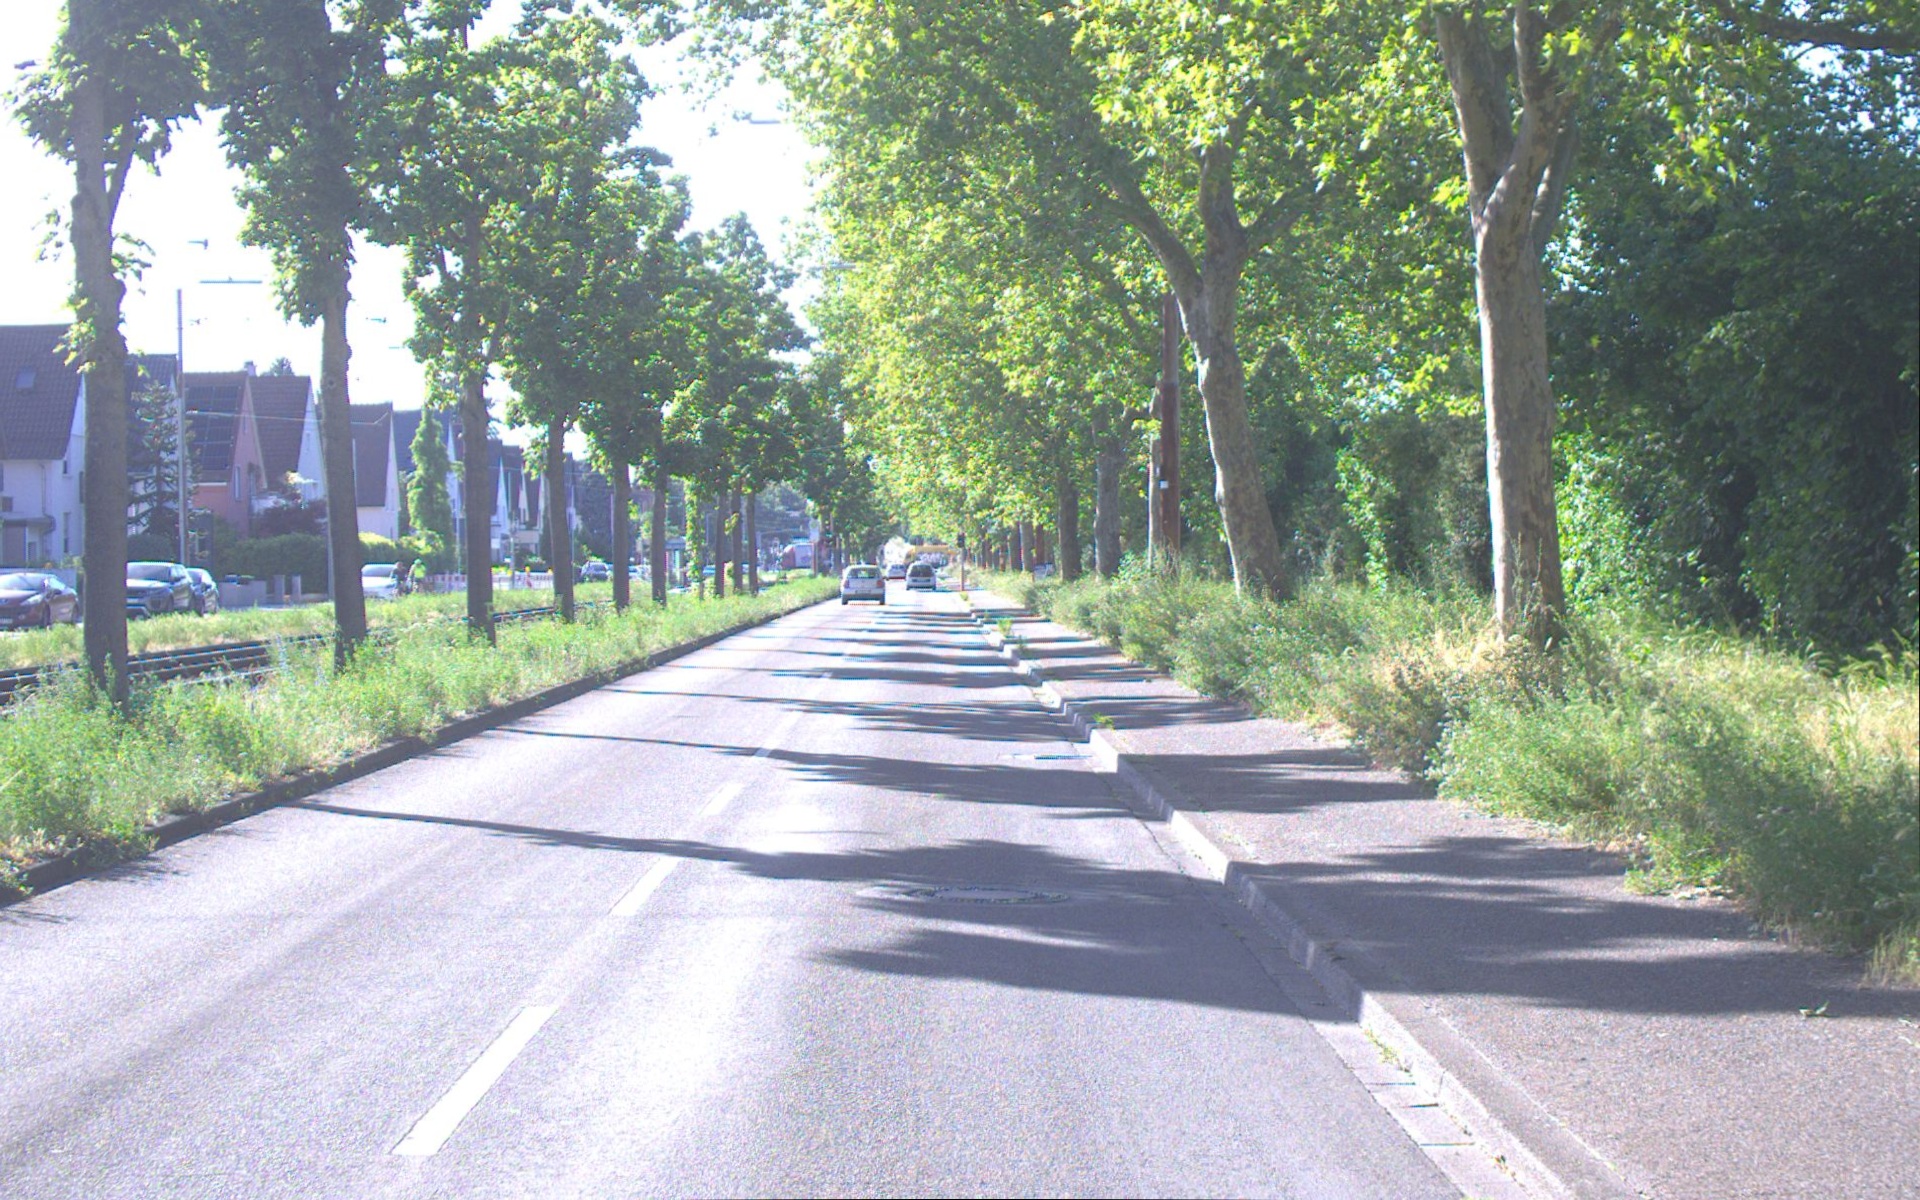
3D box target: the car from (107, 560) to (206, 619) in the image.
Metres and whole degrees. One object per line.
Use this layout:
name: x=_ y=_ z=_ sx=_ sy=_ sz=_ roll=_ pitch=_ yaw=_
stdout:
car: x=-22.313 y=-0.270 z=95.624 sx=1.644 sy=1.563 sz=4.386 roll=1 pitch=0 yaw=1

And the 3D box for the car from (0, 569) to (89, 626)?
car: x=-22.426 y=-0.065 z=83.378 sx=1.494 sy=1.321 sz=4.000 roll=1 pitch=0 yaw=1

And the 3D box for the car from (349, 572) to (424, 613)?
car: x=-23.211 y=-0.302 z=139.201 sx=1.994 sy=1.593 sz=4.731 roll=1 pitch=0 yaw=3

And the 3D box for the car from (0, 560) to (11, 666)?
car: x=-18.029 y=0.206 z=59.416 sx=1.915 sy=1.876 sz=4.523 roll=1 pitch=0 yaw=1

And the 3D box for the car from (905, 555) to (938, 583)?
car: x=-2.130 y=-1.726 z=192.816 sx=1.761 sy=1.508 sz=3.276 roll=1 pitch=0 yaw=0

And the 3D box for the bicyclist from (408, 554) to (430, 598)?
bicyclist: x=-20.715 y=-0.912 z=131.595 sx=0.688 sy=1.646 sz=0.881 roll=1 pitch=0 yaw=-1

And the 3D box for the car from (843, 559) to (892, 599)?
car: x=-3.400 y=-0.765 z=126.743 sx=1.738 sy=1.396 sz=3.277 roll=1 pitch=0 yaw=-1
